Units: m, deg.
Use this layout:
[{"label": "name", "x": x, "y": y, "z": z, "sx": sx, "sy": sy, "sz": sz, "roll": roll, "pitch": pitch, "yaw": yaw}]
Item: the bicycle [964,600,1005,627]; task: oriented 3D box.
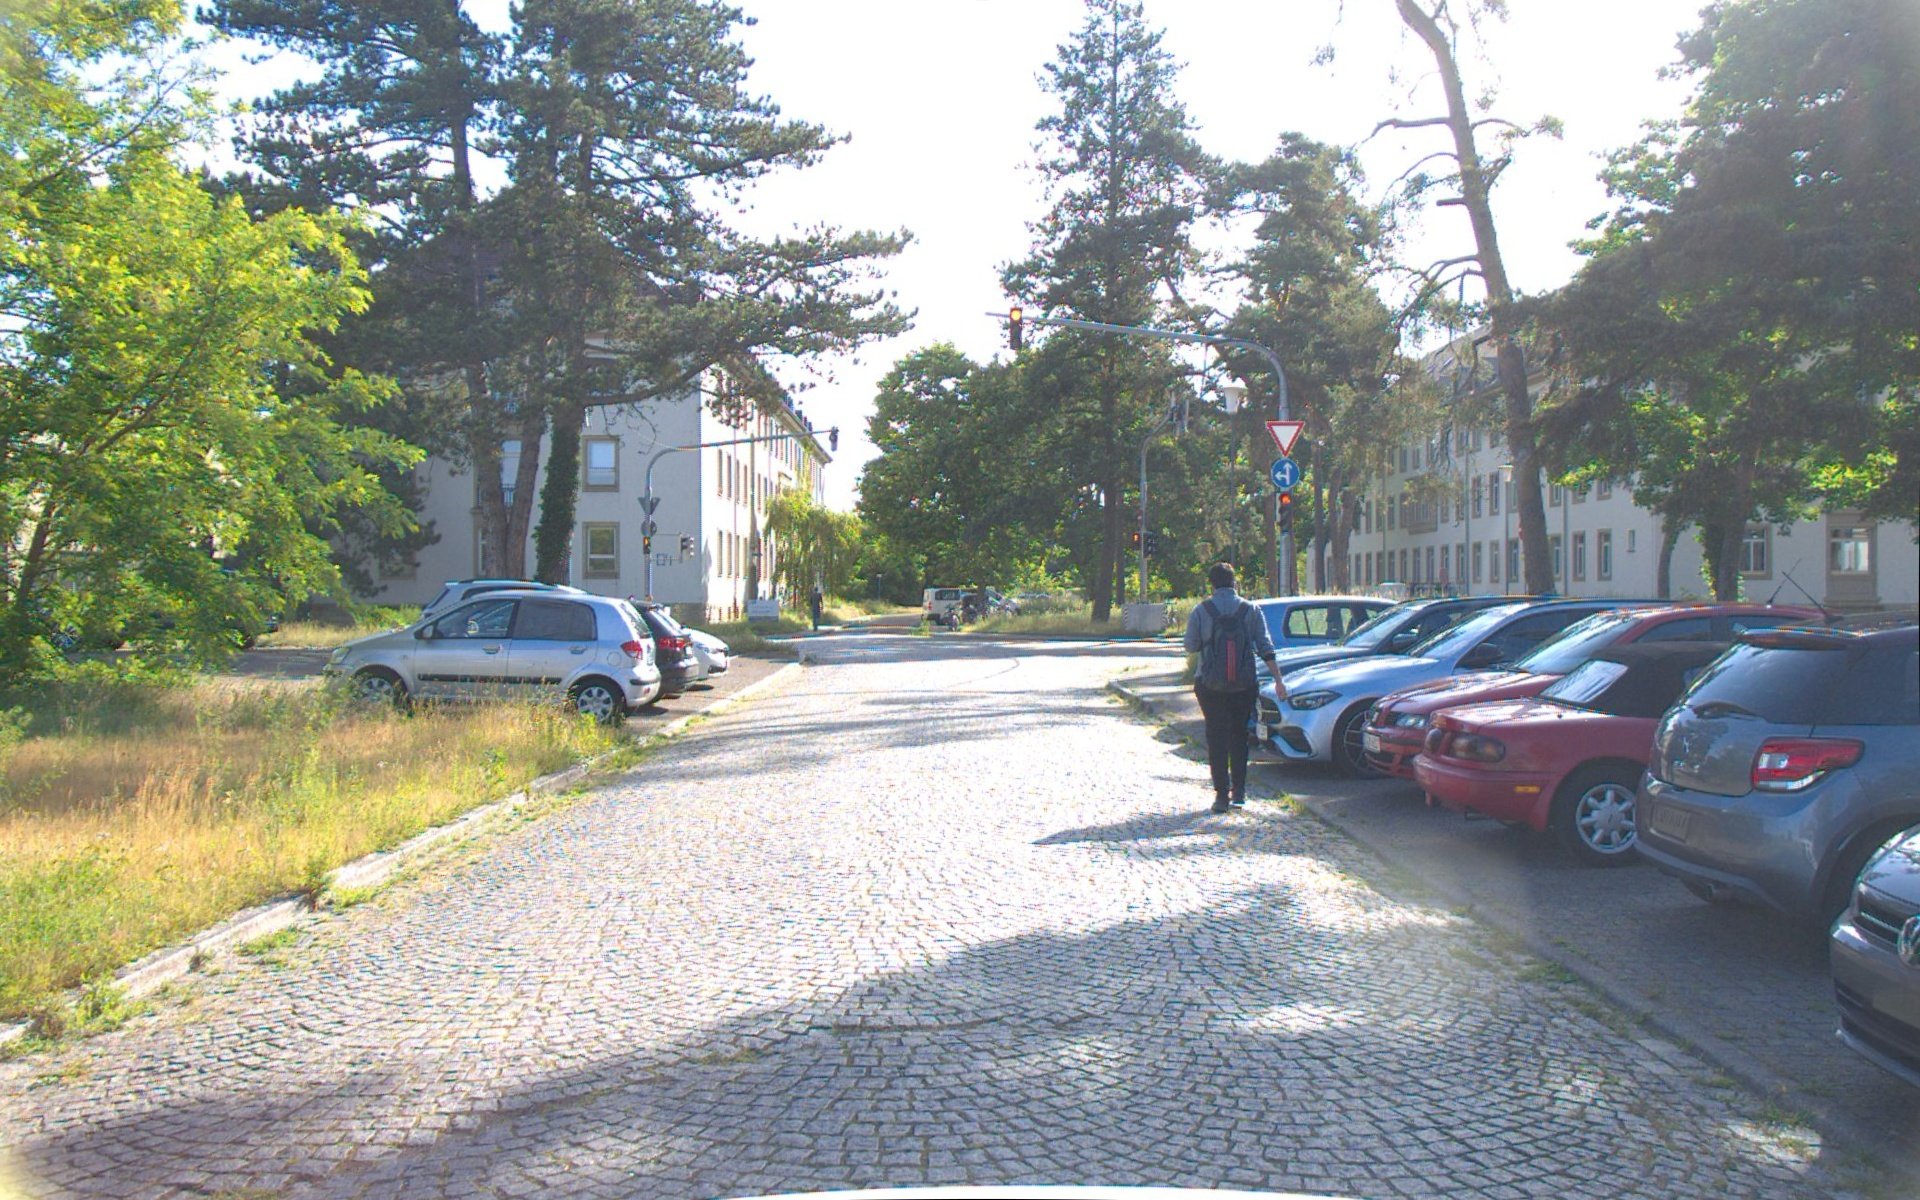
[{"label": "bicycle", "x": 1.023, "y": 0.566, "z": 69.561, "sx": 1.693, "sy": 1.132, "sz": 0.484, "roll": 0, "pitch": 0, "yaw": -4}]

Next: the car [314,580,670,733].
[{"label": "car", "x": -5.317, "y": 0.627, "z": 19.152, "sx": 3.612, "sy": 1.554, "sz": 1.698, "roll": 2, "pitch": 0, "yaw": -3}]

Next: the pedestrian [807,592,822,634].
[{"label": "pedestrian", "x": -6.193, "y": 0.540, "z": 70.334, "sx": 0.594, "sy": 1.783, "sz": 0.630, "roll": 0, "pitch": 0, "yaw": -1}]

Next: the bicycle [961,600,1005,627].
[{"label": "bicycle", "x": 0.961, "y": 0.567, "z": 69.016, "sx": 1.798, "sy": 1.132, "sz": 0.495, "roll": 0, "pitch": 0, "yaw": -4}]

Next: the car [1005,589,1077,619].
[{"label": "car", "x": 4.445, "y": 0.201, "z": 90.881, "sx": 3.673, "sy": 1.607, "sz": 1.738, "roll": 0, "pitch": 0, "yaw": -8}]

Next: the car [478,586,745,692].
[{"label": "car", "x": -5.670, "y": 0.612, "z": 27.220, "sx": 3.903, "sy": 1.522, "sz": 1.773, "roll": 2, "pitch": 0, "yaw": 4}]

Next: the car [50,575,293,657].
[{"label": "car", "x": -16.296, "y": 0.310, "z": 34.323, "sx": 4.059, "sy": 1.636, "sz": 2.010, "roll": 0, "pitch": 0, "yaw": 0}]

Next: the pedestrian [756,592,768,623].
[{"label": "pedestrian", "x": -9.920, "y": 0.372, "z": 82.828, "sx": 0.595, "sy": 1.587, "sz": 0.544, "roll": 0, "pitch": 0, "yaw": -7}]

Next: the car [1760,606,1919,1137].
[{"label": "car", "x": 4.539, "y": 0.728, "z": 4.661, "sx": 3.703, "sy": 1.476, "sz": 1.758, "roll": -1, "pitch": 0, "yaw": 1}]

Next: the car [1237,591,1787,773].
[{"label": "car", "x": 4.818, "y": 0.684, "z": 14.839, "sx": 4.310, "sy": 1.413, "sz": 1.788, "roll": -2, "pitch": 0, "yaw": -2}]

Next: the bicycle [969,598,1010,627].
[{"label": "bicycle", "x": 1.248, "y": 0.526, "z": 70.245, "sx": 1.693, "sy": 1.185, "sz": 0.560, "roll": 0, "pitch": 0, "yaw": -4}]

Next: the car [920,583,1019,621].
[{"label": "car", "x": 0.474, "y": 0.099, "z": 86.899, "sx": 4.974, "sy": 1.951, "sz": 1.995, "roll": 0, "pitch": 0, "yaw": -10}]

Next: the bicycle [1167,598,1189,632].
[{"label": "bicycle", "x": 7.550, "y": 0.517, "z": 57.196, "sx": 0.706, "sy": 1.134, "sz": 2.586, "roll": 0, "pitch": 0, "yaw": 9}]

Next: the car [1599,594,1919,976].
[{"label": "car", "x": 5.039, "y": 0.708, "z": 7.526, "sx": 3.588, "sy": 1.480, "sz": 1.666, "roll": -2, "pitch": 0, "yaw": -1}]

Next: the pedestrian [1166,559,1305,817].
[{"label": "pedestrian", "x": 1.991, "y": 0.616, "z": 12.042, "sx": 0.738, "sy": 1.755, "sz": 0.828, "roll": 4, "pitch": 0, "yaw": -1}]

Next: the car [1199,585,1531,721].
[{"label": "car", "x": 4.845, "y": 0.613, "z": 20.118, "sx": 3.598, "sy": 1.468, "sz": 1.665, "roll": -2, "pitch": 0, "yaw": -1}]

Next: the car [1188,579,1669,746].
[{"label": "car", "x": 4.858, "y": 0.619, "z": 17.581, "sx": 4.527, "sy": 1.481, "sz": 1.869, "roll": -2, "pitch": 0, "yaw": -3}]

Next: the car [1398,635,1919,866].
[{"label": "car", "x": 4.578, "y": 0.867, "z": 10.128, "sx": 3.390, "sy": 1.264, "sz": 1.536, "roll": 0, "pitch": 0, "yaw": 0}]

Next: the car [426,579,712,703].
[{"label": "car", "x": -5.732, "y": 0.585, "z": 24.560, "sx": 3.801, "sy": 1.643, "sz": 1.660, "roll": 2, "pitch": 0, "yaw": -2}]

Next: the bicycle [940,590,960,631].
[{"label": "bicycle", "x": -0.398, "y": 0.412, "z": 65.540, "sx": 0.738, "sy": 1.608, "sz": 2.536, "roll": 0, "pitch": 0, "yaw": -1}]

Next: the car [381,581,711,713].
[{"label": "car", "x": -5.370, "y": 0.594, "z": 21.815, "sx": 3.858, "sy": 1.470, "sz": 1.690, "roll": 3, "pitch": 0, "yaw": -2}]

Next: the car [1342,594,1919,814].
[{"label": "car", "x": 5.047, "y": 0.729, "z": 12.523, "sx": 3.898, "sy": 1.474, "sz": 1.655, "roll": -1, "pitch": 0, "yaw": -1}]
